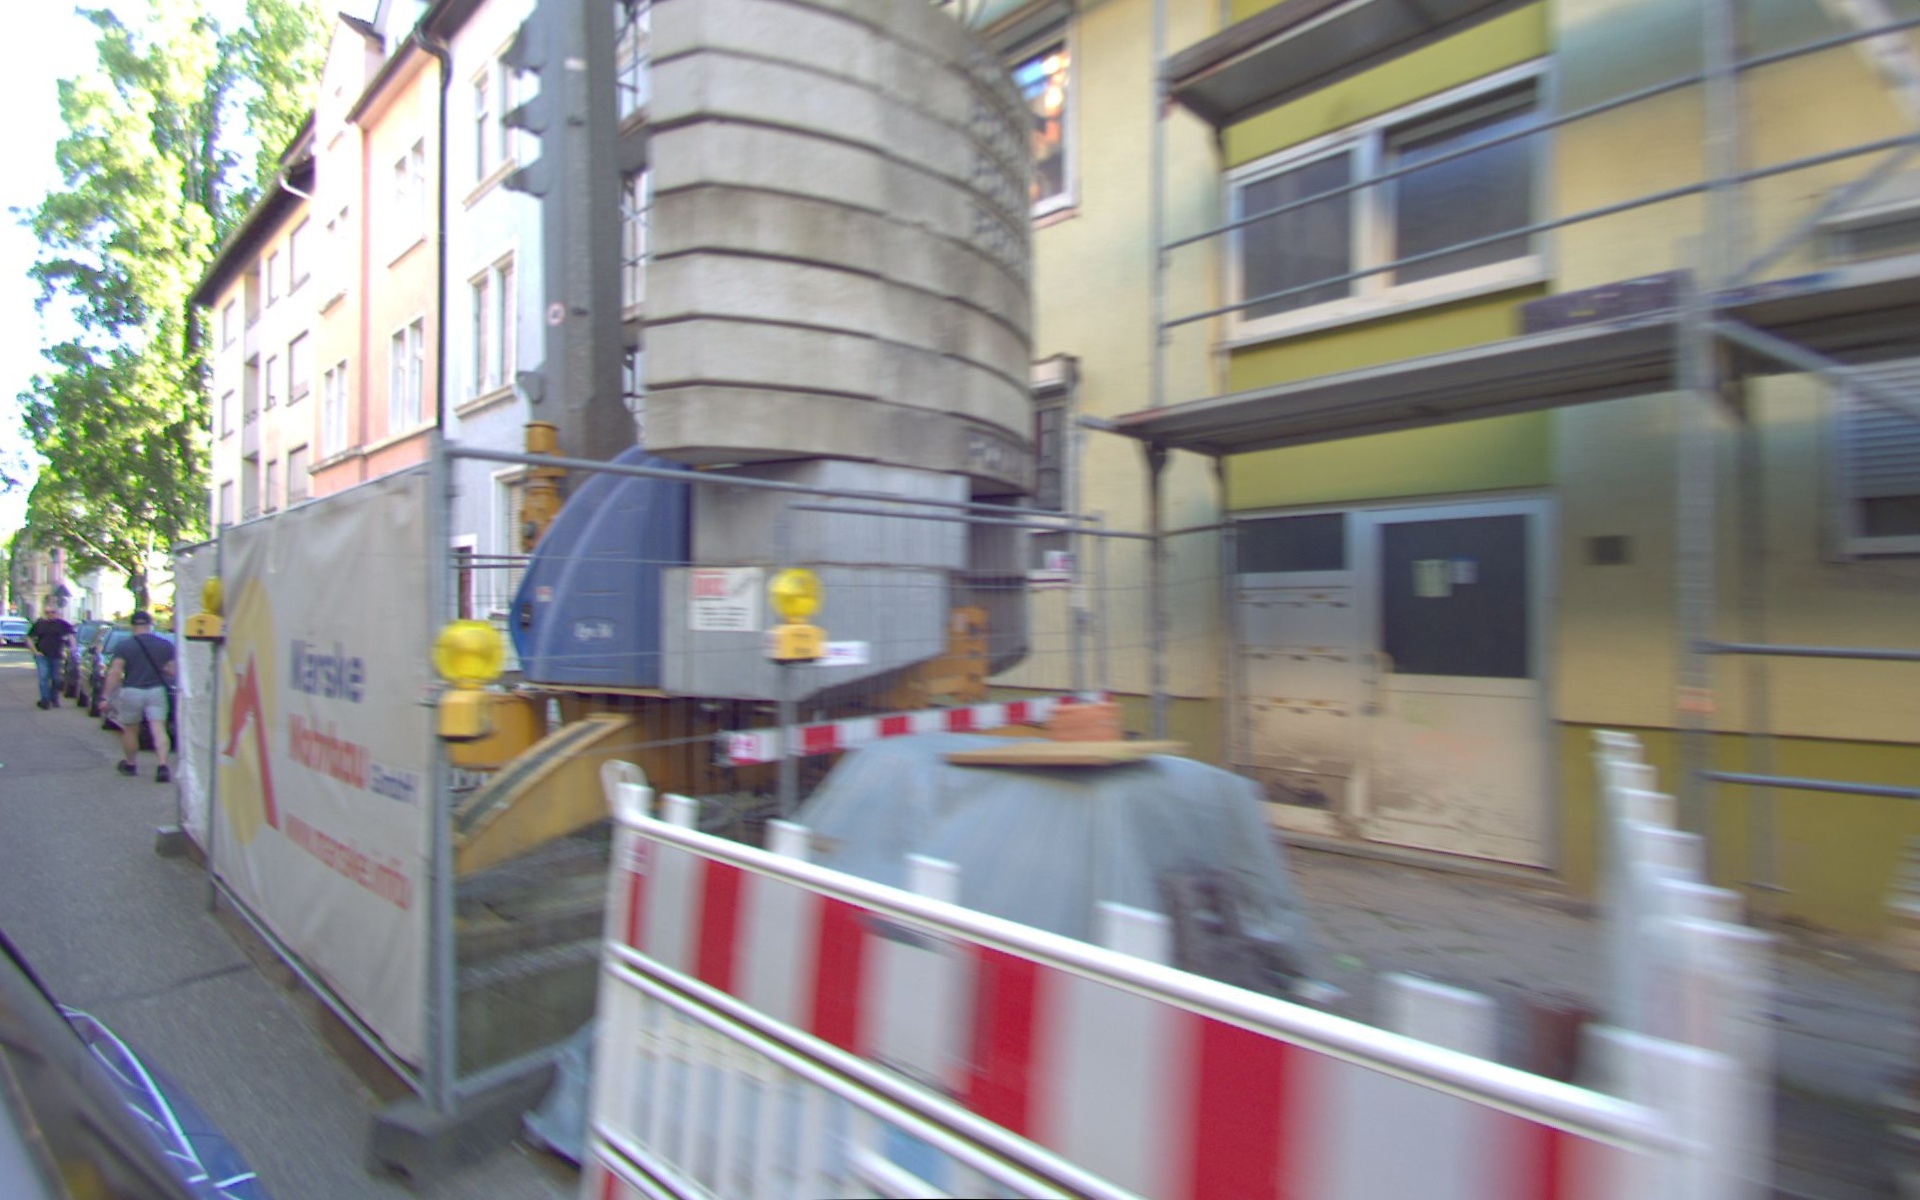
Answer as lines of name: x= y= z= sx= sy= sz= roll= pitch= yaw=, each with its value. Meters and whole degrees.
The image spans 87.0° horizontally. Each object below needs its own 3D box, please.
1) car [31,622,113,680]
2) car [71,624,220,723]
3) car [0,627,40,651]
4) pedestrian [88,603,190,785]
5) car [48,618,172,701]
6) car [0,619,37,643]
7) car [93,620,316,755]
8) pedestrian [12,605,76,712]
car: x=-24.778 y=1.407 z=28.194 sx=1.444 sy=1.533 sz=3.662 roll=3 pitch=-4 yaw=-45
car: x=-14.279 y=1.188 z=17.657 sx=1.623 sy=1.503 sz=4.002 roll=1 pitch=-1 yaw=-45
car: x=-53.117 y=2.183 z=56.965 sx=1.735 sy=1.311 sz=4.251 roll=3 pitch=-4 yaw=-45
pedestrian: x=-7.881 y=0.878 z=9.708 sx=0.813 sy=1.656 sz=0.586 roll=-2 pitch=-5 yaw=45
car: x=-18.062 y=1.217 z=21.443 sx=1.623 sy=1.586 sz=4.251 roll=3 pitch=-4 yaw=-45
car: x=-62.565 y=2.052 z=66.886 sx=2.137 sy=1.529 sz=5.381 roll=3 pitch=-4 yaw=-43
car: x=-10.379 y=1.070 z=13.758 sx=1.746 sy=1.520 sz=4.699 roll=3 pitch=-4 yaw=-45
pedestrian: x=-15.730 y=0.991 z=17.377 sx=0.729 sy=1.767 sz=0.998 roll=2 pitch=-3 yaw=-44
